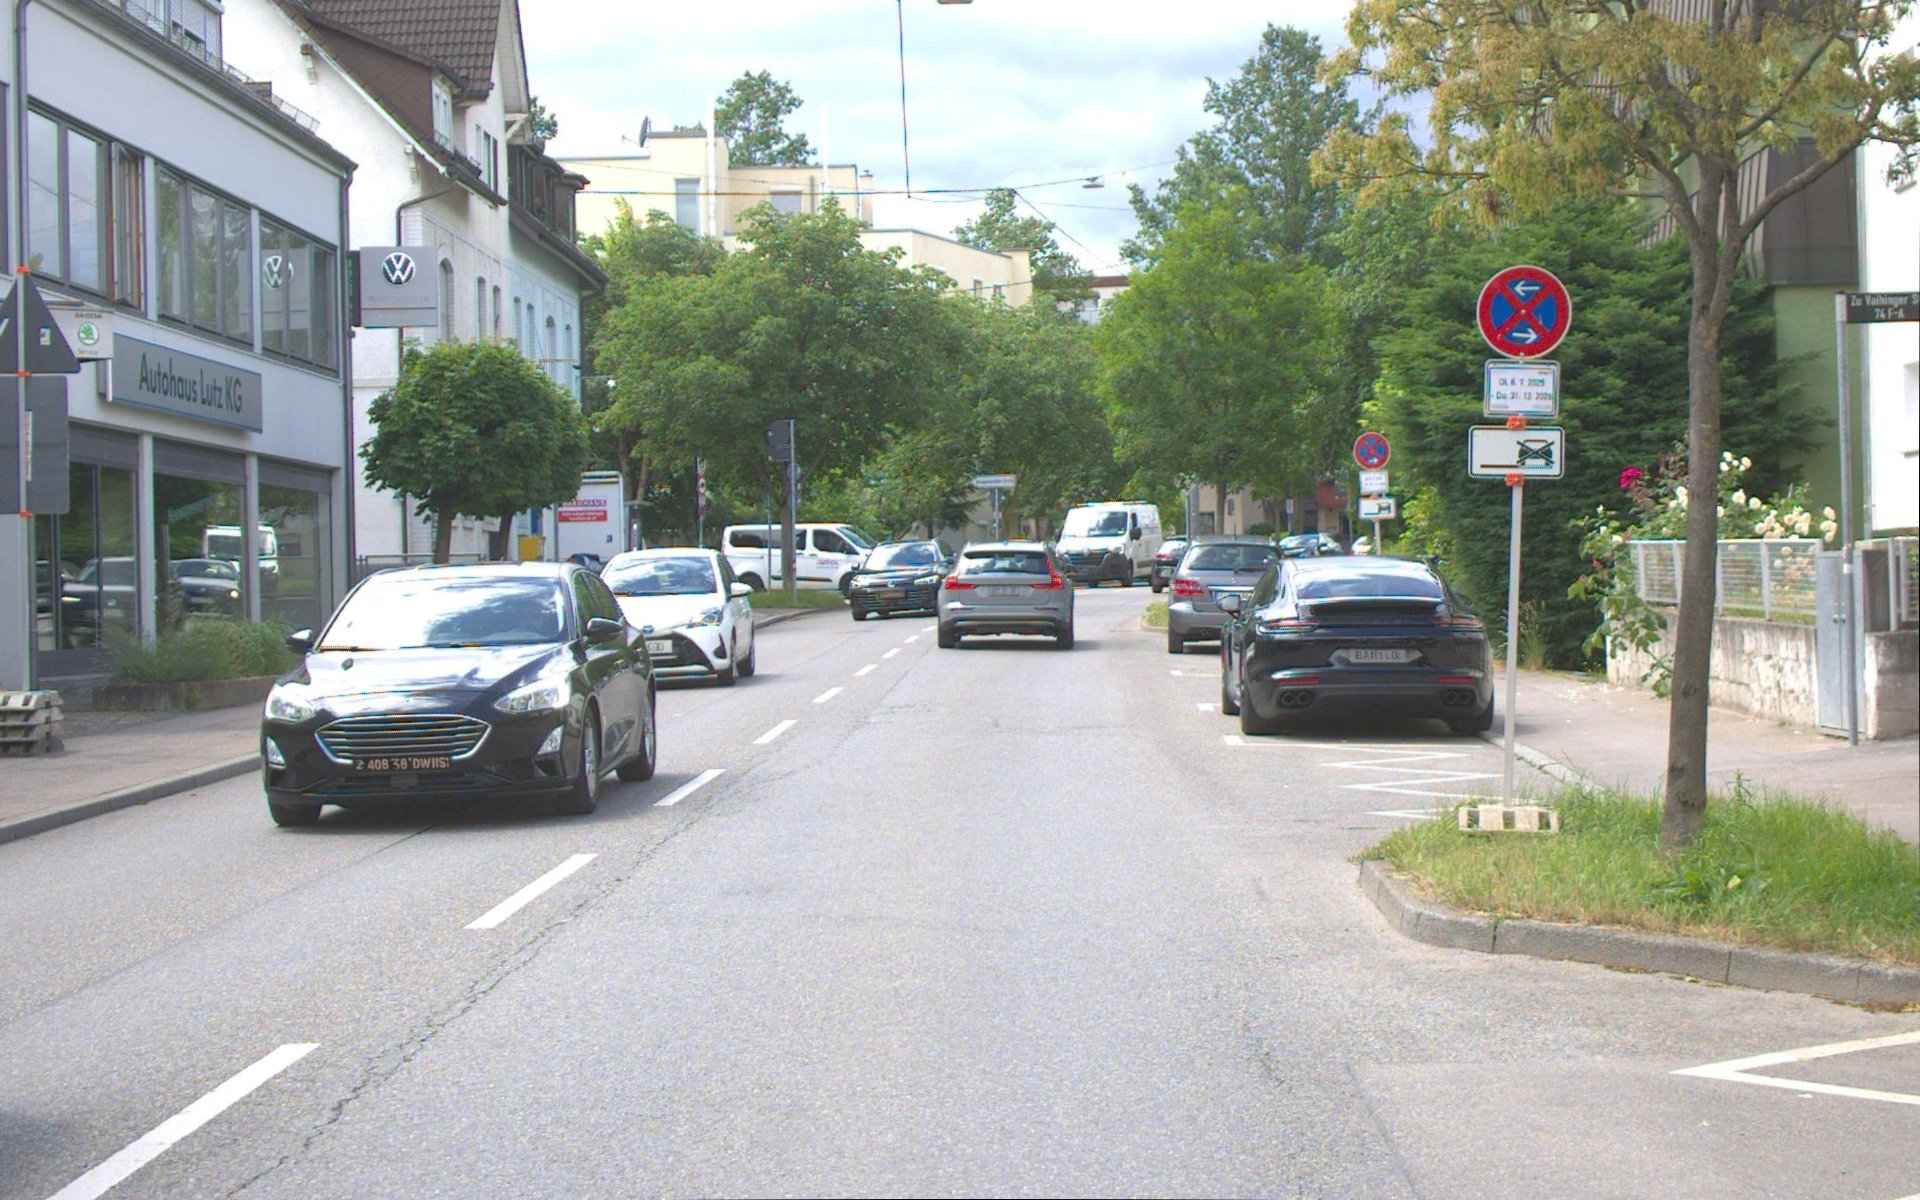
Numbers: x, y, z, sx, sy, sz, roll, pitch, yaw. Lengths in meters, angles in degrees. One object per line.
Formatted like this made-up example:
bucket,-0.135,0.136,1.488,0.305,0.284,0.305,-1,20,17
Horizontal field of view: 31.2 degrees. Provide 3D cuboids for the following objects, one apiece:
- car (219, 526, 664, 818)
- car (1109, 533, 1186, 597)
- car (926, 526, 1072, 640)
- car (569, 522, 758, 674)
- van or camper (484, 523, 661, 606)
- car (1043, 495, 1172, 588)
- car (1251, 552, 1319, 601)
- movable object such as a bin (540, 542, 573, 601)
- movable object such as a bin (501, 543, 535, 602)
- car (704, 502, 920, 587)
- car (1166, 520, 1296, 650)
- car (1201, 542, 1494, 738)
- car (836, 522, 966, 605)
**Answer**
car,-2.923,0.376,20.254,1.831,1.518,4.170,-1,0,2
car,4.564,-0.841,84.030,1.614,1.518,3.570,-1,0,-1
car,0.554,-0.241,48.323,1.956,1.518,4.329,0,0,1
car,-3.237,-0.026,38.126,1.690,1.574,3.800,-1,0,1
van or camper,-9.479,-0.842,84.294,1.789,1.987,4.370,0,0,37
car,4.103,-1.637,94.698,2.065,2.345,5.178,-3,1,19
car,10.881,-0.796,114.918,1.687,1.477,4.224,-4,0,12
movable object such as a bin,-7.682,-0.539,65.482,0.564,1.097,0.563,2,0,-2
movable object such as a bin,-8.413,-0.524,65.420,0.564,1.097,0.563,2,0,-2
car,-3.900,-1.461,90.798,5.217,1.987,2.106,-2,1,19
car,3.700,-0.248,47.458,1.690,1.660,4.462,-1,2,4
car,3.080,0.294,28.230,1.984,1.443,4.751,-1,0,2
car,-1.114,-0.738,67.509,1.776,1.518,4.460,-2,1,9
